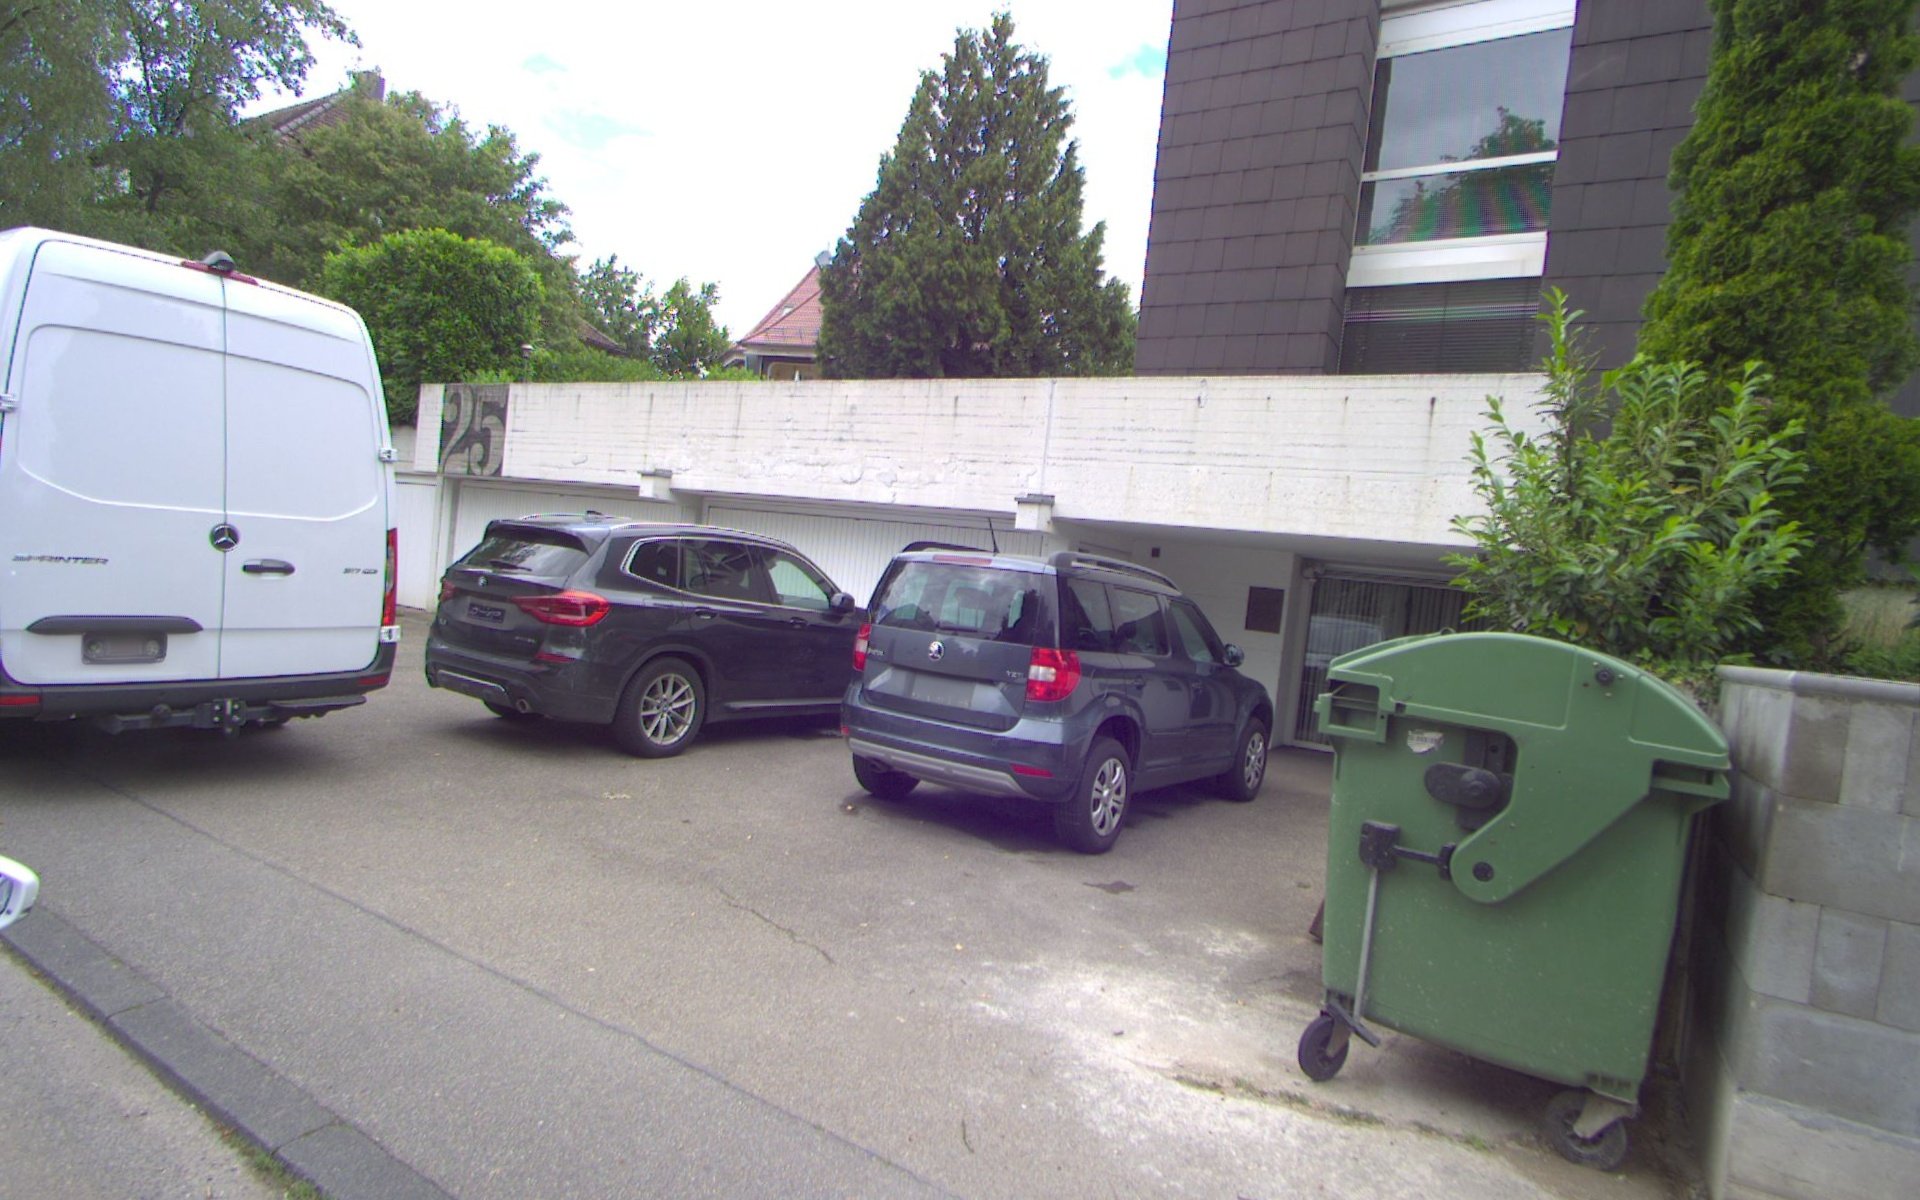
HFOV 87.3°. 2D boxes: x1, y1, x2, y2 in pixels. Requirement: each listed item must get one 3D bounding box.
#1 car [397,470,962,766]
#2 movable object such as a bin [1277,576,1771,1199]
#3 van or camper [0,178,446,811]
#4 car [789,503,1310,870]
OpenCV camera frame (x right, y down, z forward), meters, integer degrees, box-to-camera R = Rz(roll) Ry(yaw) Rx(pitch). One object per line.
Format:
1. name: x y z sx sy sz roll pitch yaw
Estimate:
1. car: -1.979 0.179 8.449 1.710 1.772 4.419 7 1 33
2. movable object such as a bin: 1.735 0.779 3.162 1.016 1.550 1.034 7 1 33
3. van or camper: -6.323 -0.680 6.672 6.432 2.653 1.995 7 1 32
4. car: 0.916 0.507 7.168 1.804 1.772 3.973 7 1 35
